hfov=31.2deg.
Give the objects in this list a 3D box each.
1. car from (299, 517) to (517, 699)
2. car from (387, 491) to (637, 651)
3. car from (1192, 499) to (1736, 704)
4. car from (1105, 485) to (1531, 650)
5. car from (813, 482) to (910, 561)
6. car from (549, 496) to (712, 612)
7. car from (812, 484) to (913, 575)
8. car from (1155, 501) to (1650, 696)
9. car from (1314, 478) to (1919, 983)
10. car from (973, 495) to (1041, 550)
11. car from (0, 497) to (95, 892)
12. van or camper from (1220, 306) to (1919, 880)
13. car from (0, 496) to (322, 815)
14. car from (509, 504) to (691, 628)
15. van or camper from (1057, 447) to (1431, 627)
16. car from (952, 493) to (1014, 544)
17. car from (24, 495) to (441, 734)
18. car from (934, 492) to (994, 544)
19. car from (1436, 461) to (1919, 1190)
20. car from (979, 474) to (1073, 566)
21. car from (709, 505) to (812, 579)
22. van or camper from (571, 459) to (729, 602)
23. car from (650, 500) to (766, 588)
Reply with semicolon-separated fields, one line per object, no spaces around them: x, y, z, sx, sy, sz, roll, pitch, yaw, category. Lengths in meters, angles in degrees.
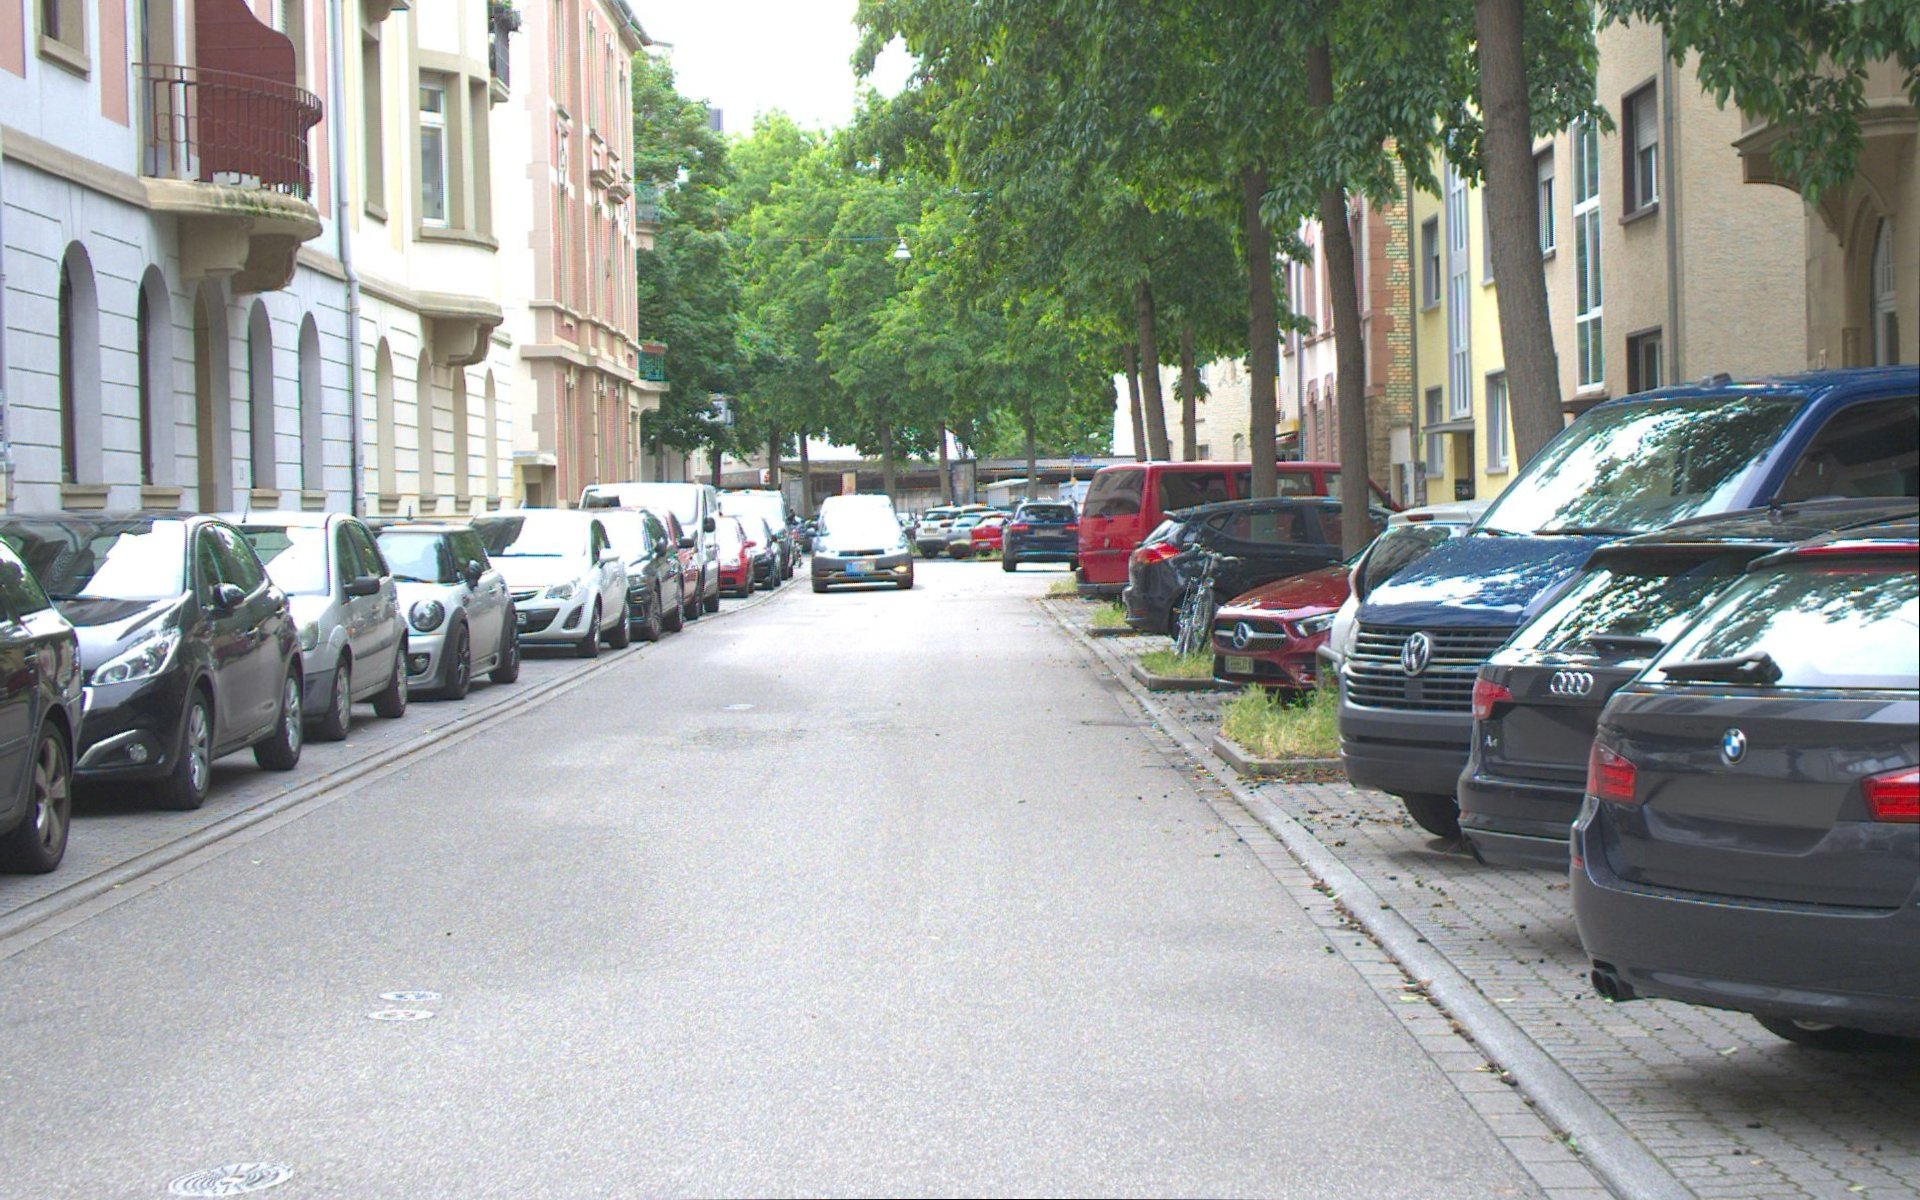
-4.342;0.023;27.368;1.209;1.305;3.261;2;2;-1;car
-4.499;-0.340;35.080;1.993;1.470;4.000;2;2;0;car
3.688;-0.016;25.474;3.709;1.403;1.576;-1;2;-5;car
3.368;-0.329;32.744;3.760;1.460;1.729;-1;2;-5;car
-2.183;-1.775;77.309;1.908;1.672;4.000;2;2;1;car
-4.417;-0.655;46.536;1.786;1.439;3.888;2;2;0;car
-1.839;-1.373;66.004;1.821;1.639;3.754;2;2;-1;car
3.634;-0.034;28.659;3.760;1.460;1.730;2;2;-5;car
3.353;0.326;11.955;3.861;1.494;1.802;-2;2;-29;car
1.387;-2.307;101.880;1.870;1.524;3.840;2;2;-1;car
-4.476;0.369;12.296;1.789;1.475;4.023;0;2;-1;car
3.688;-0.108;14.846;4.775;2.130;2.056;-2;2;-31;van or camper
-4.573;0.200;17.811;1.829;1.421;3.802;2;2;-1;car
-4.282;-0.443;41.344;1.786;1.369;3.508;2;2;0;car
3.510;-0.779;42.456;4.146;2.078;1.953;1;2;-28;van or camper
0.700;-2.509;106.896;1.870;1.525;4.000;0;1;-1;car
-4.740;0.031;22.977;1.947;1.398;4.001;2;2;-1;car
0.114;-2.706;112.476;1.870;1.622;4.001;2;2;-1;car
3.420;0.413;8.918;4.010;1.554;1.885;-2;2;-31;car
1.493;-1.855;79.358;1.993;2.006;4.001;2;2;-1;car
-3.968;-1.190;68.915;1.786;1.369;3.888;2;2;0;car
-4.521;-1.045;50.698;1.881;1.961;4.408;2;2;0;van or camper
-4.656;-1.069;63.951;1.786;1.450;3.888;-4;2;0;car
